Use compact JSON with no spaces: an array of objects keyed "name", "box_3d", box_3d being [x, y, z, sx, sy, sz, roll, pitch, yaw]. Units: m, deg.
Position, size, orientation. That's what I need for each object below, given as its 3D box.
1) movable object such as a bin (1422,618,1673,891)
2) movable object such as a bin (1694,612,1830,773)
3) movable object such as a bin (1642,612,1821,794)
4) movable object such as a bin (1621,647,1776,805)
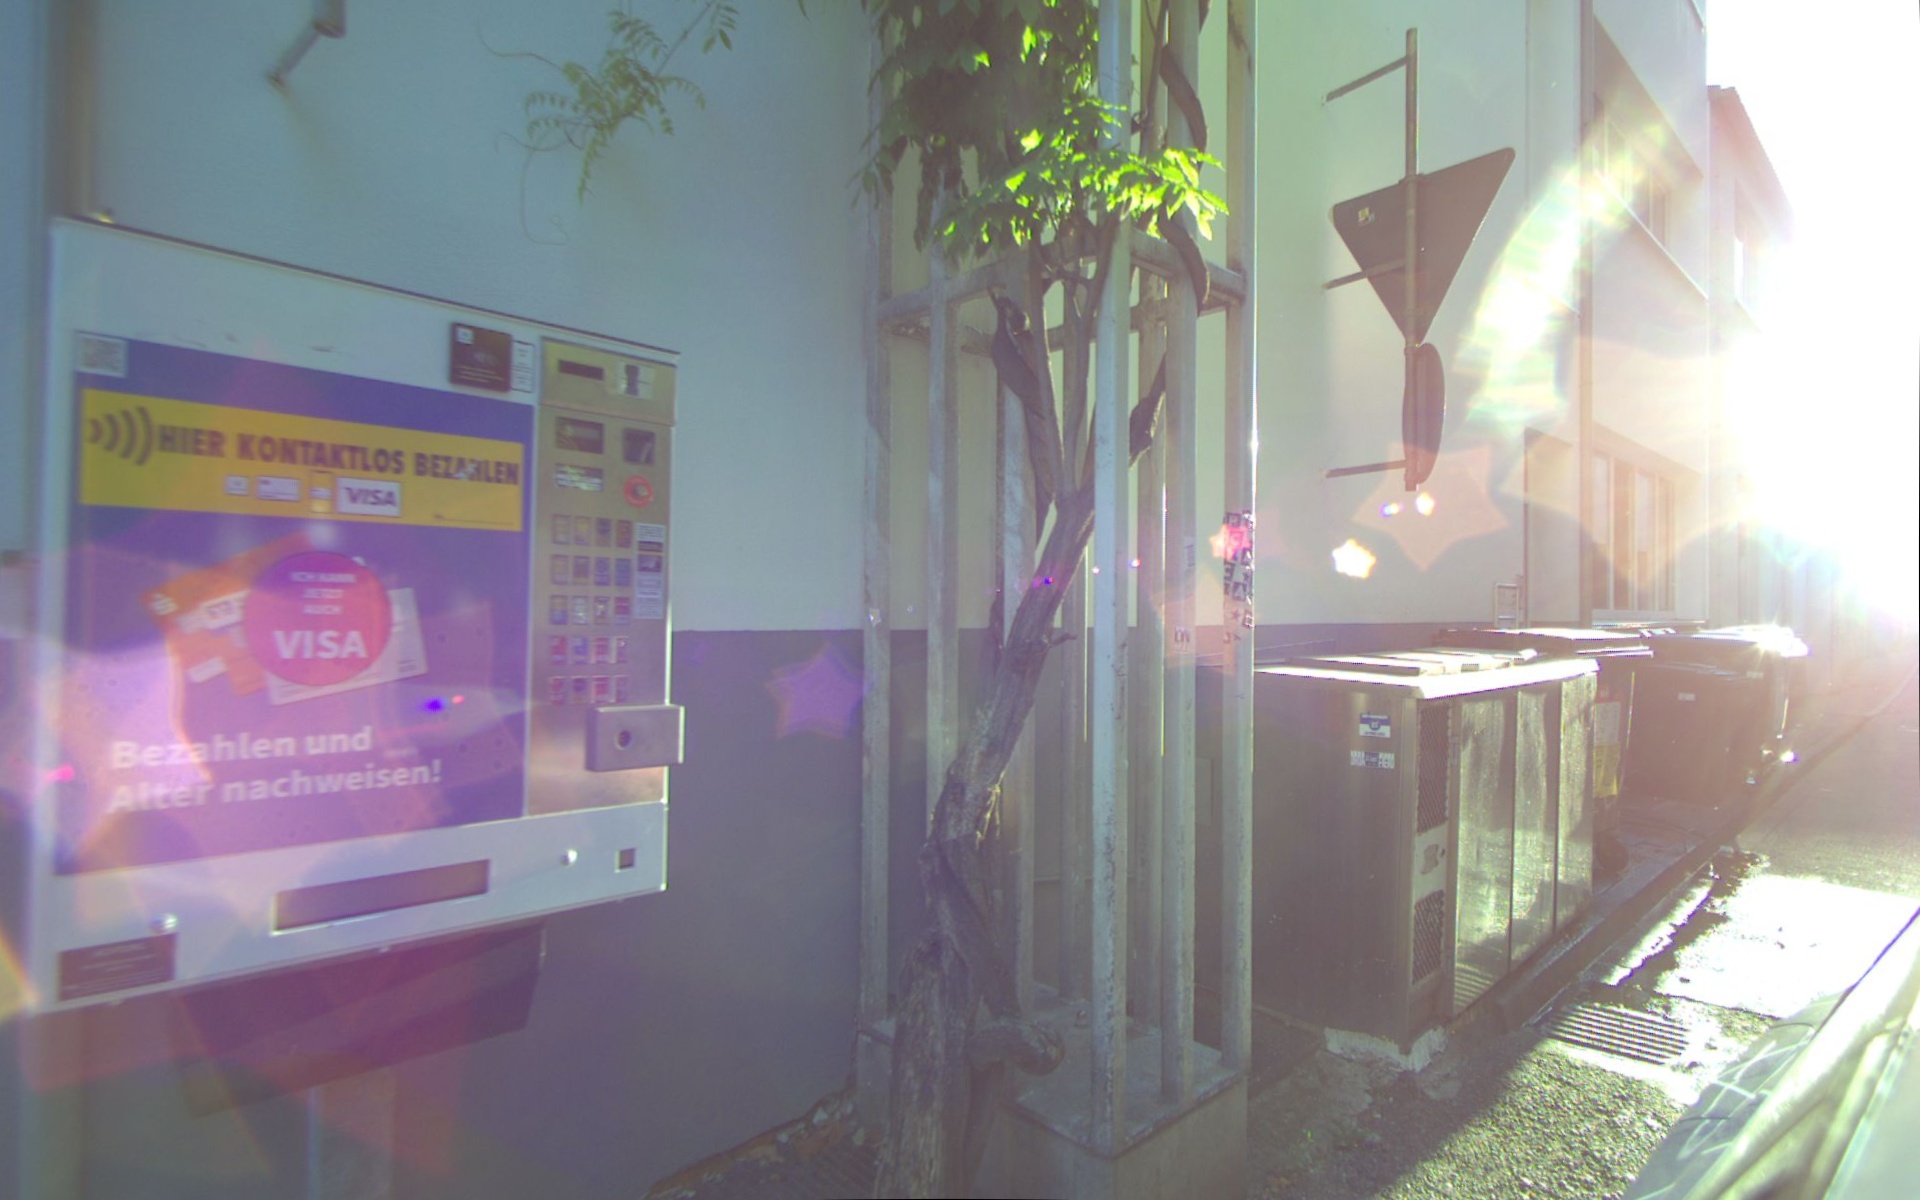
[{"name":"movable object such as a bin","box_3d":[3.368,0.785,5.782,1.267,1.321,0.837,1,1,-41]},{"name":"movable object such as a bin","box_3d":[7.763,0.828,9.800,0.936,1.384,1.323,3,1,40]},{"name":"movable object such as a bin","box_3d":[6.756,0.825,8.853,1.064,1.383,1.321,3,1,44]},{"name":"movable object such as a bin","box_3d":[5.862,0.957,8.039,0.869,1.088,0.726,3,1,45]}]
